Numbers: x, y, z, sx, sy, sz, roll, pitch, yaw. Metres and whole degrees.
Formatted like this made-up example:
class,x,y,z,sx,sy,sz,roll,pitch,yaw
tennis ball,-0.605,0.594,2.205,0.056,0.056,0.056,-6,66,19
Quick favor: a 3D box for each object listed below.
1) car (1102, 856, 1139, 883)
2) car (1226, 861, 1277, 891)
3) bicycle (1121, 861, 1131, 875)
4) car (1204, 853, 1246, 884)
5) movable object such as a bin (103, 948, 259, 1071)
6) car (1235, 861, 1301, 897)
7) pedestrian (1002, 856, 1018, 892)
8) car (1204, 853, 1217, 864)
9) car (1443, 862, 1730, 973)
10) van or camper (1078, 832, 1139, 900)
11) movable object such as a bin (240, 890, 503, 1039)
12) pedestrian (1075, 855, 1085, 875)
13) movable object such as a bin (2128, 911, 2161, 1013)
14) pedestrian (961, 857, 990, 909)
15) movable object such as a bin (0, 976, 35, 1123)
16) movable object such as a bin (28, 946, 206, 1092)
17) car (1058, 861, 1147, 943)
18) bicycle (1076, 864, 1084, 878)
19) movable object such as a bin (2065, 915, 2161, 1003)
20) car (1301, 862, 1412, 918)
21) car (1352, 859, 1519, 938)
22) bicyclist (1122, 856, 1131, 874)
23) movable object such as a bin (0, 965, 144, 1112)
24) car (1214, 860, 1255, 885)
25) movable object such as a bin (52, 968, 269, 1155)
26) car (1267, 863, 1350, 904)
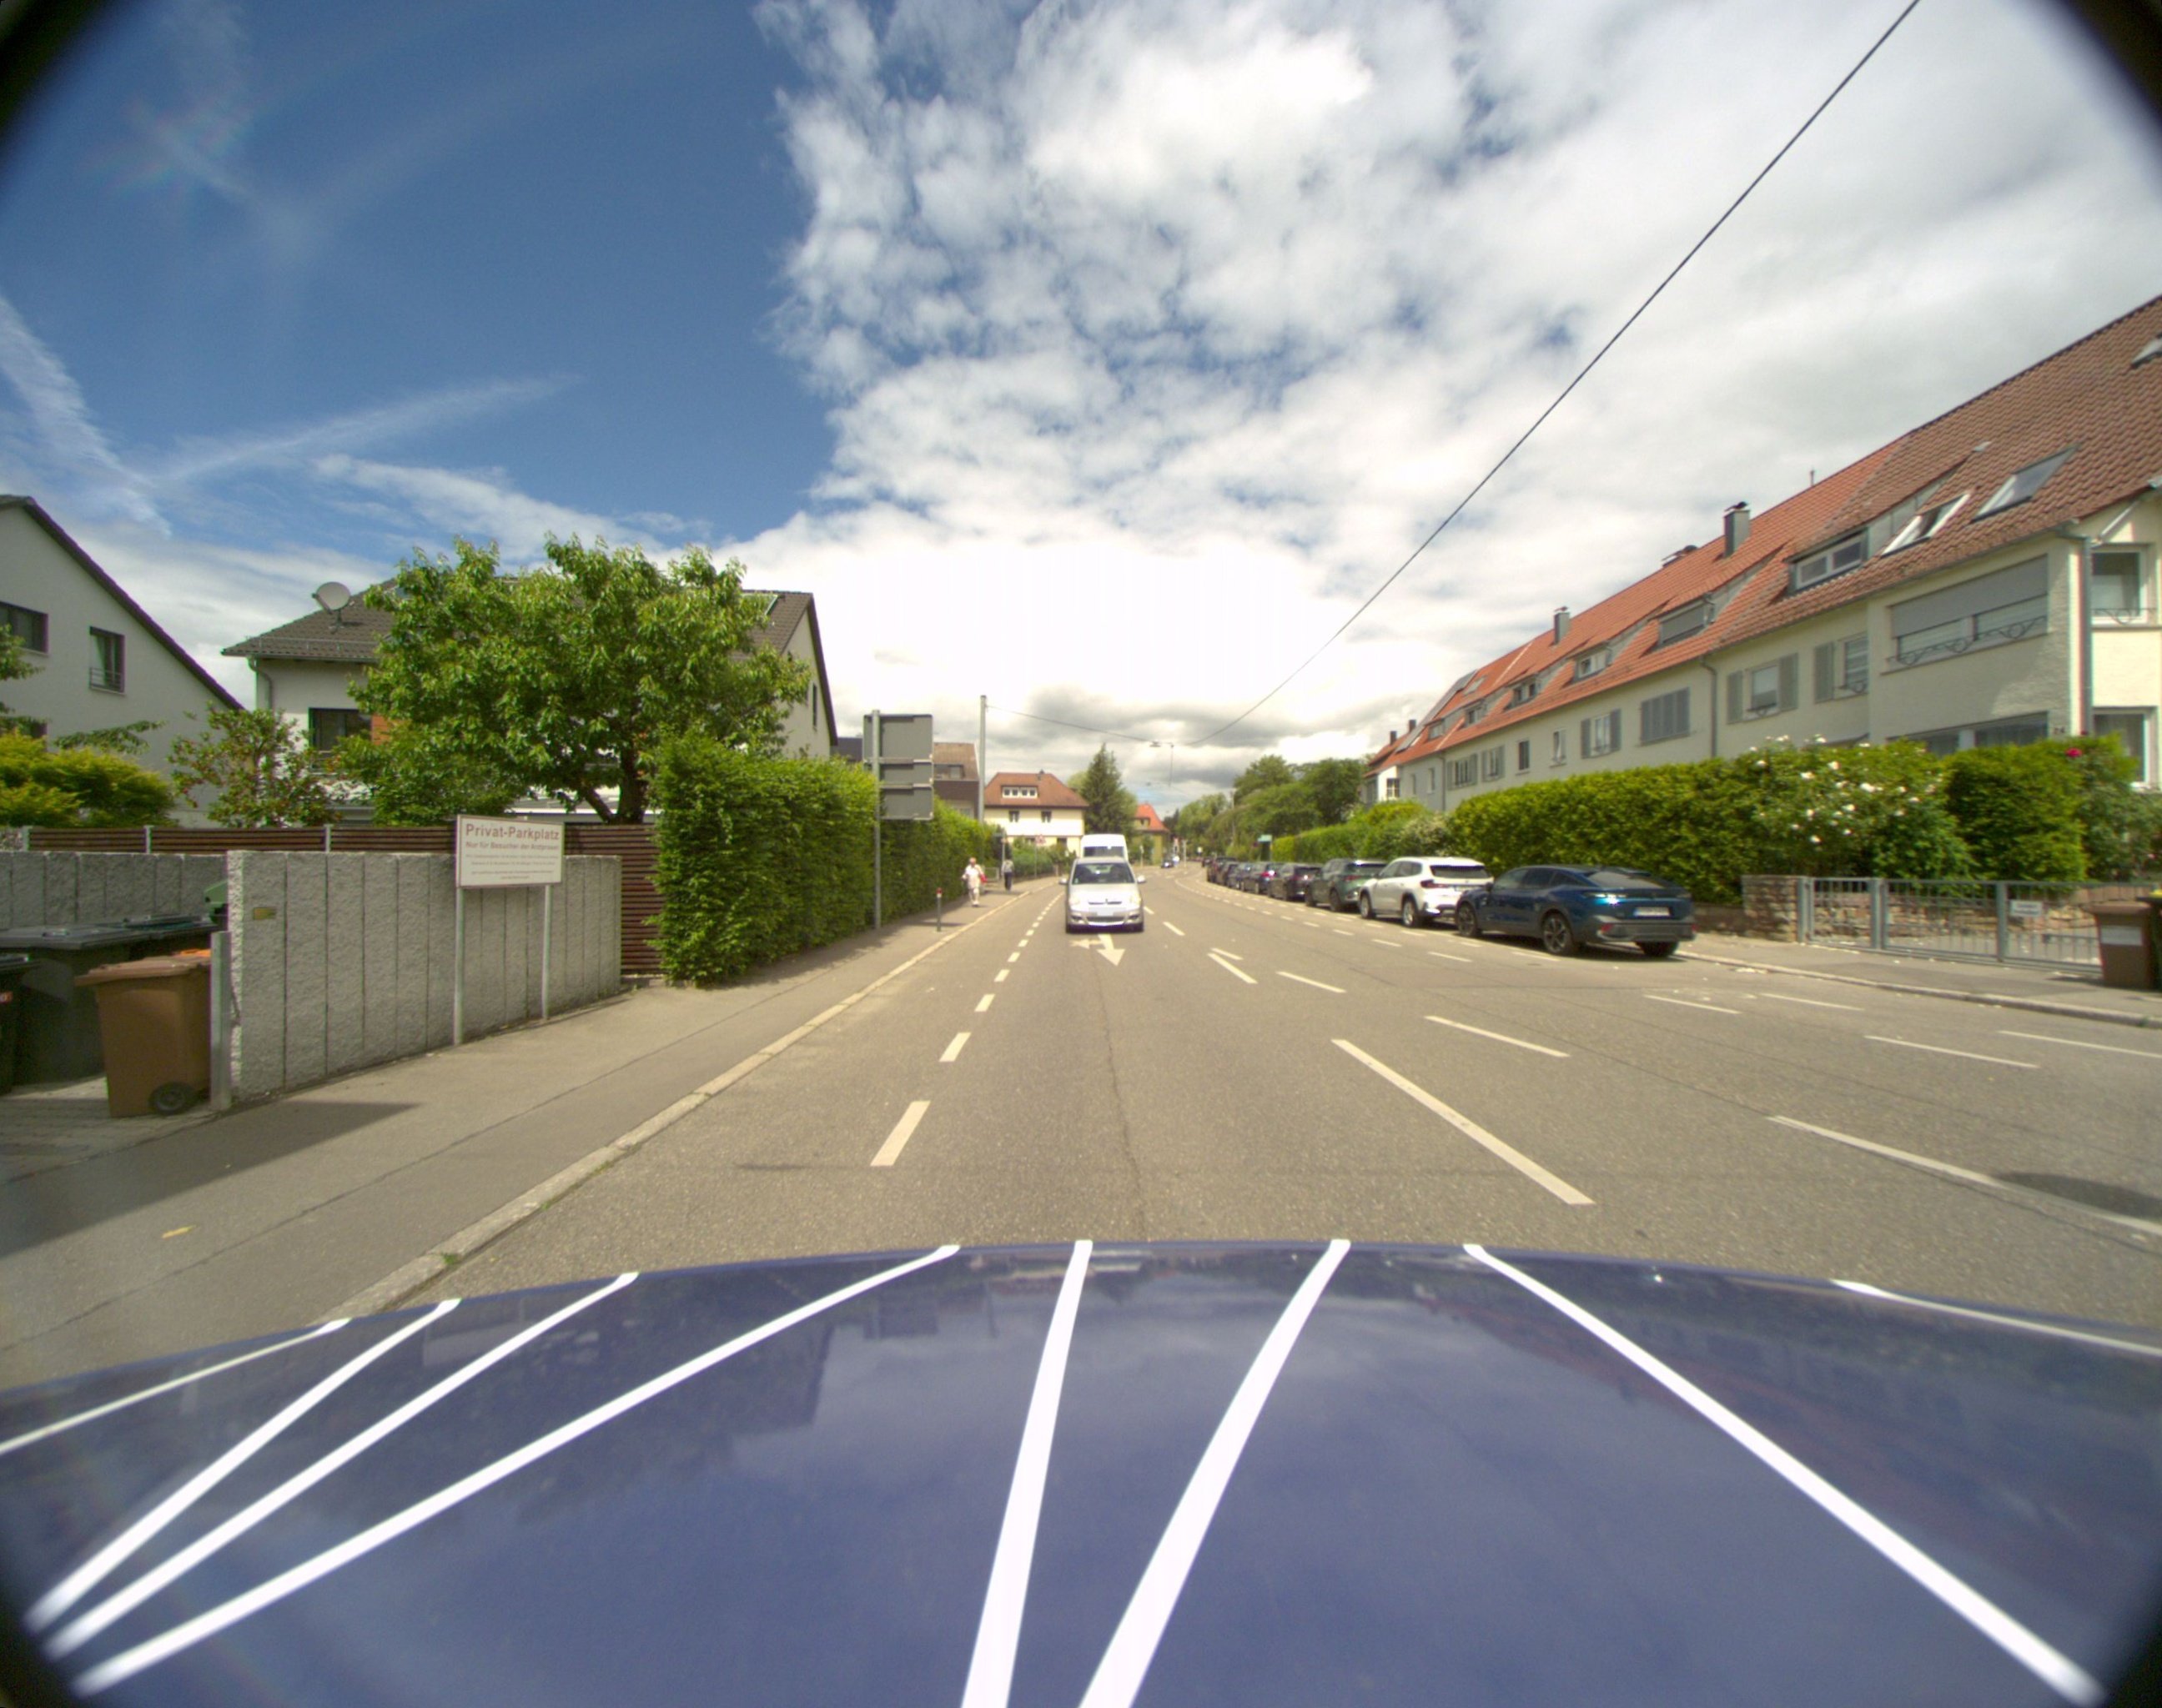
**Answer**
class,x,y,z,sx,sy,sz,roll,pitch,yaw
car,2.800,1.033,53.035,1.931,1.771,4.003,-2,0,11
car,8.864,1.107,39.825,1.782,1.409,4.440,0,0,1
bicycle,4.354,1.343,73.409,0.865,1.294,2.662,0,0,4
car,9.555,0.927,50.780,1.998,1.884,5.405,2,0,3
movable object such as a bin,-7.510,1.275,6.373,0.635,0.887,0.539,-1,0,-16
car,8.481,1.075,34.809,1.782,1.483,4.565,0,0,-2
pedestrian,-3.259,0.907,34.980,0.604,1.596,0.836,2,1,2
car,20.912,0.689,122.395,1.919,1.639,4.297,4,1,11
car,8.484,0.955,13.385,1.999,1.578,4.488,0,0,-1
van or camper,1.263,0.514,32.073,2.029,2.564,5.926,-2,-1,7
movable object such as a bin,-7.020,1.035,7.665,1.192,1.255,1.535,-1,0,-2
pedestrian,-0.073,0.827,58.592,0.736,1.508,0.872,-1,0,0
movable object such as a bin,11.273,1.108,7.628,0.597,1.018,0.658,0,0,1
pedestrian,-3.354,0.918,24.203,0.801,1.608,0.653,1,1,2
movable object such as a bin,-7.156,1.271,4.743,0.494,0.907,0.539,-1,0,-16
movable object such as a bin,-7.370,1.237,5.840,0.629,0.962,0.539,-1,0,-16
car,0.595,0.957,17.050,1.707,1.531,4.332,-2,0,5
bicycle,-0.076,1.295,58.516,0.536,1.039,2.409,-1,0,1
movable object such as a bin,11.429,1.132,8.282,0.597,0.874,0.614,0,0,1
car,8.483,1.041,23.887,1.998,1.555,4.690,0,0,3
car,8.364,0.964,18.464,1.998,1.641,4.517,0,0,1
bicyclist,4.375,1.033,73.270,0.794,1.703,1.209,0,0,5
movable object such as a bin,-7.216,1.271,5.308,0.635,0.887,0.539,-1,0,-16
car,9.149,1.064,45.457,1.782,1.409,4.340,0,0,3
movable object such as a bin,-5.688,1.248,4.743,0.534,0.945,0.686,-1,0,-13
car,8.610,1.076,29.180,1.998,1.400,4.690,0,0,3
